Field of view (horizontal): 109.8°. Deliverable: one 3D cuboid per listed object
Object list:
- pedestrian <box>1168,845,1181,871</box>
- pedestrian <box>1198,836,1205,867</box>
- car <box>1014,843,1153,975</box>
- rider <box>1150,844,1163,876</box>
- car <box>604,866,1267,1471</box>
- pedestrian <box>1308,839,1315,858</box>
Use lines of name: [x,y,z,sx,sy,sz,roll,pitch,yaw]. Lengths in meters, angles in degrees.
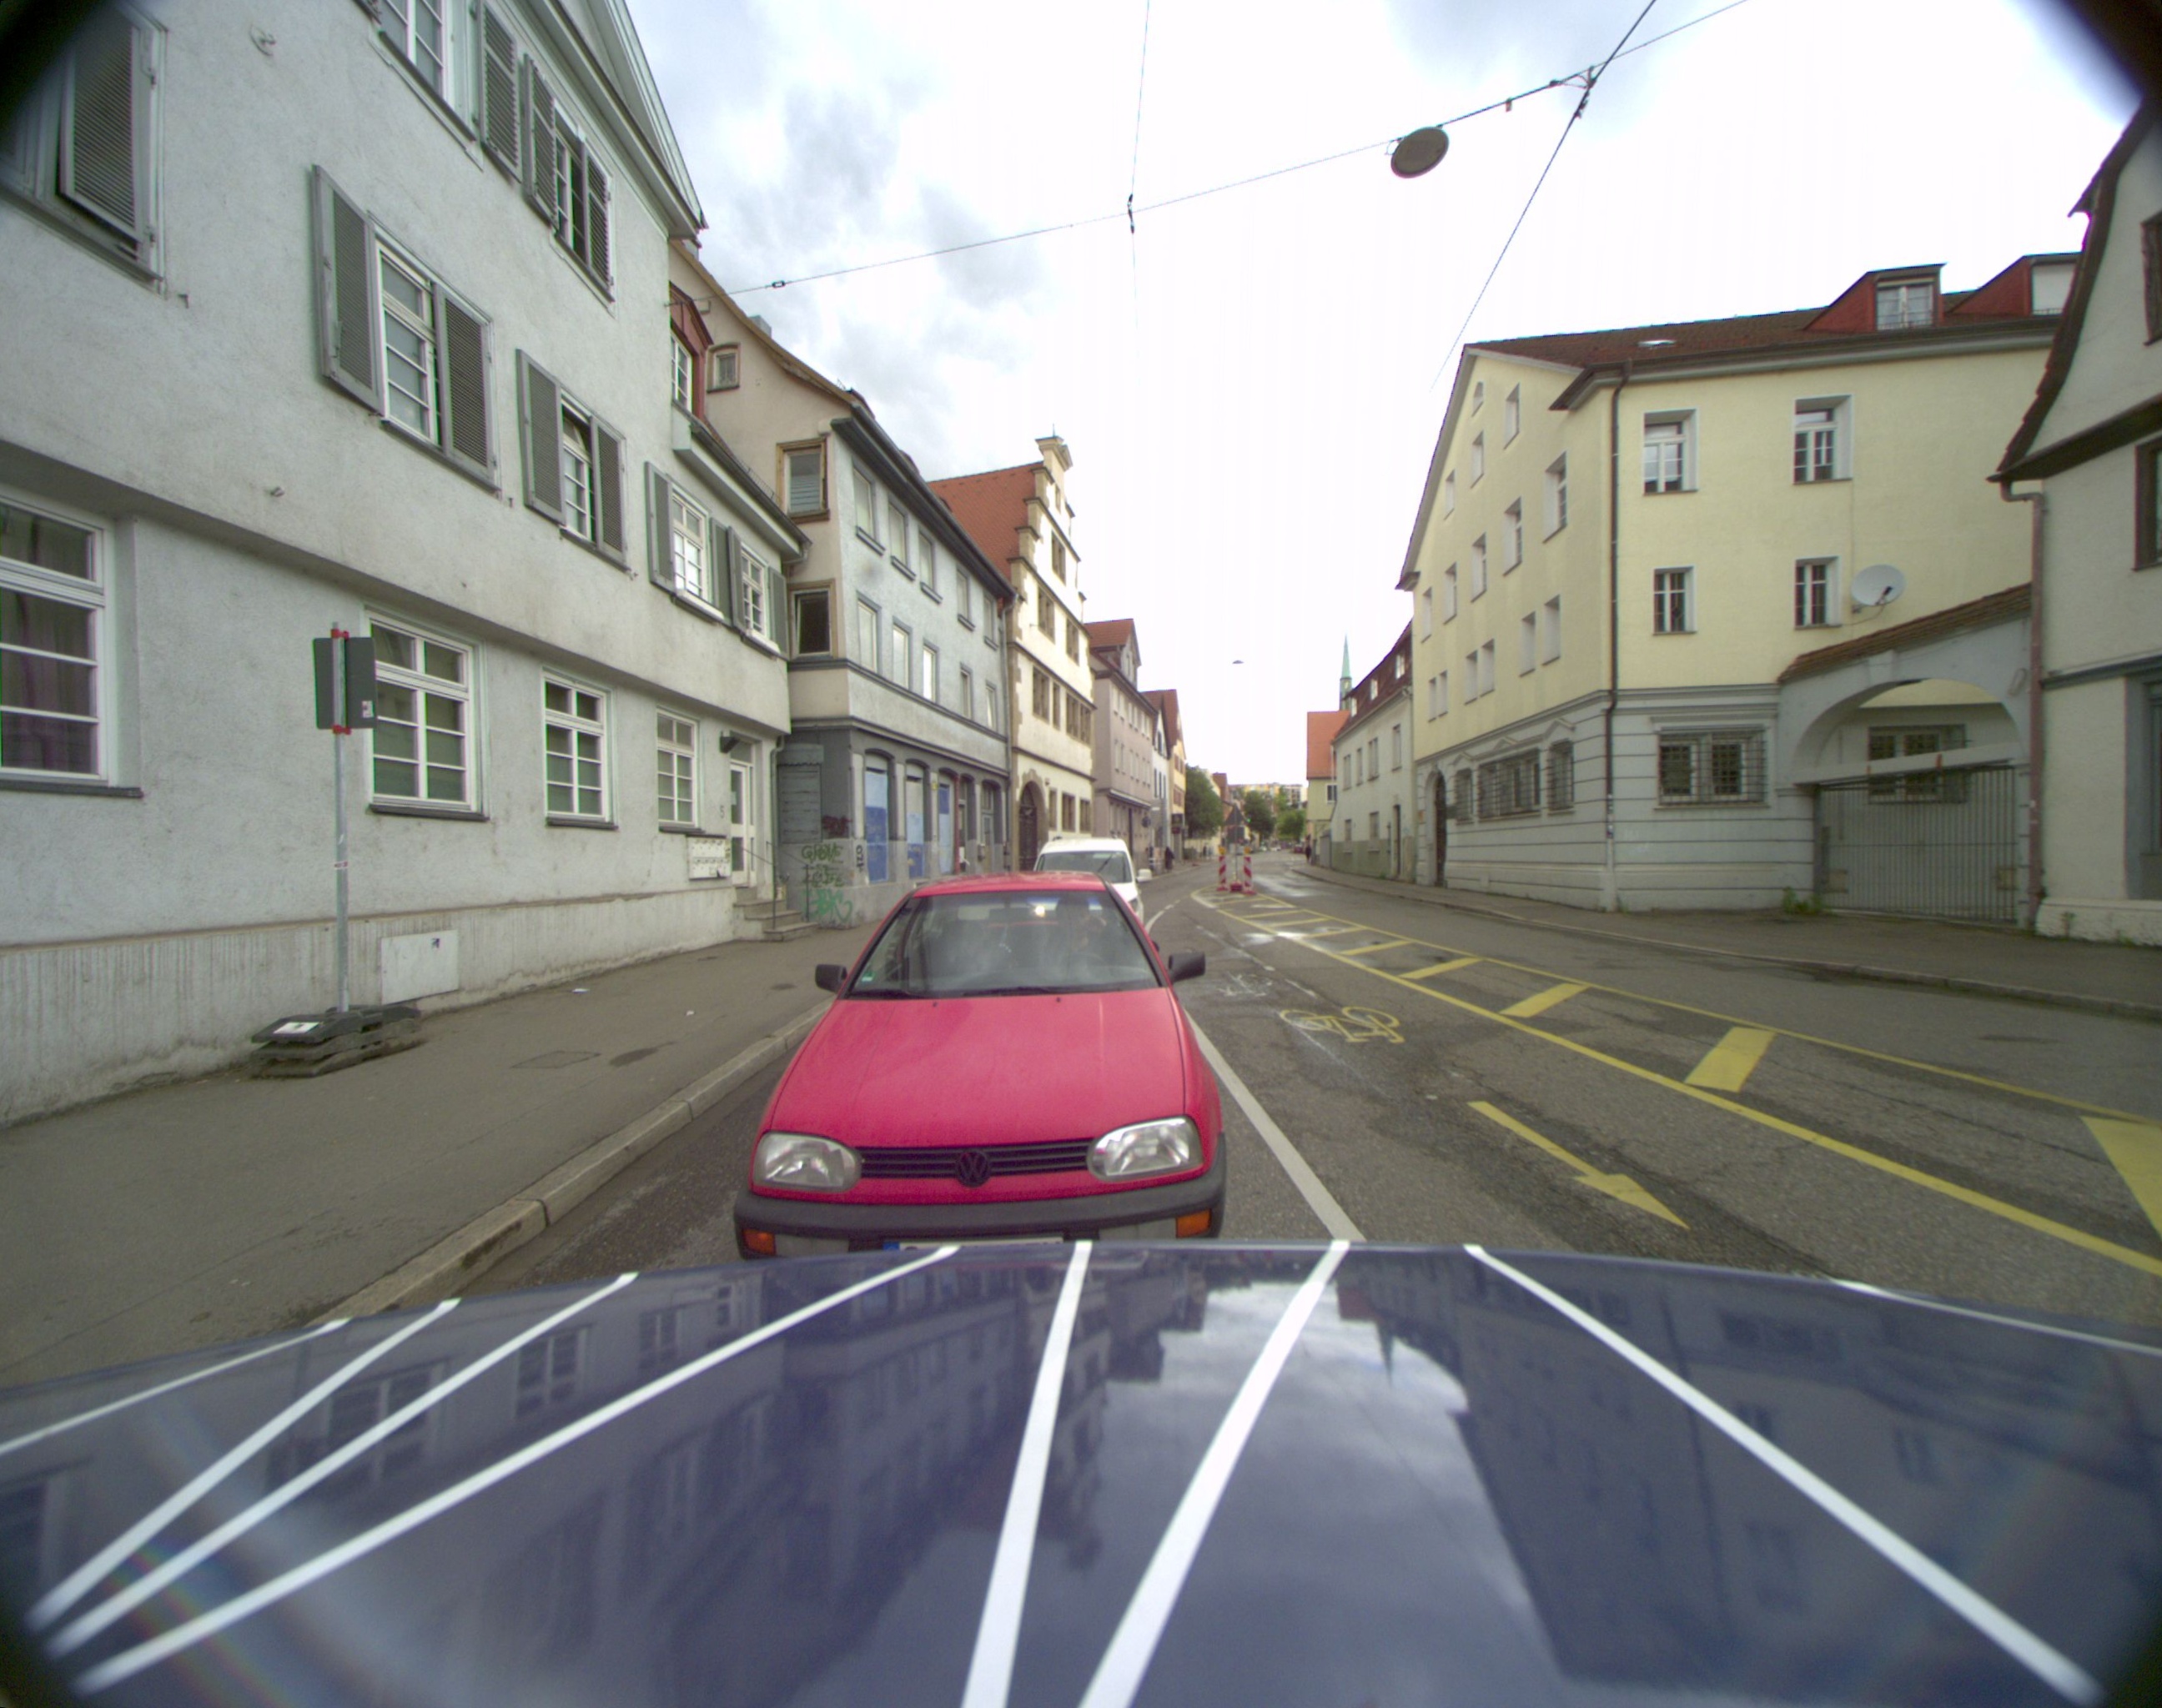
pedestrian: [5.805,0.248,47.331,0.725,1.604,0.649,-1,0,12]
pedestrian: [10.135,-0.204,63.804,0.495,2.513,0.746,-1,1,12]
car: [0.120,0.702,12.161,1.814,1.695,4.256,-1,1,2]
rider: [4.477,0.336,44.973,0.719,1.837,0.798,-2,0,7]
car: [-0.262,0.900,4.073,1.792,1.418,3.999,-1,2,4]
pedestrian: [21.604,-0.546,71.153,0.592,1.769,0.506,0,1,18]
